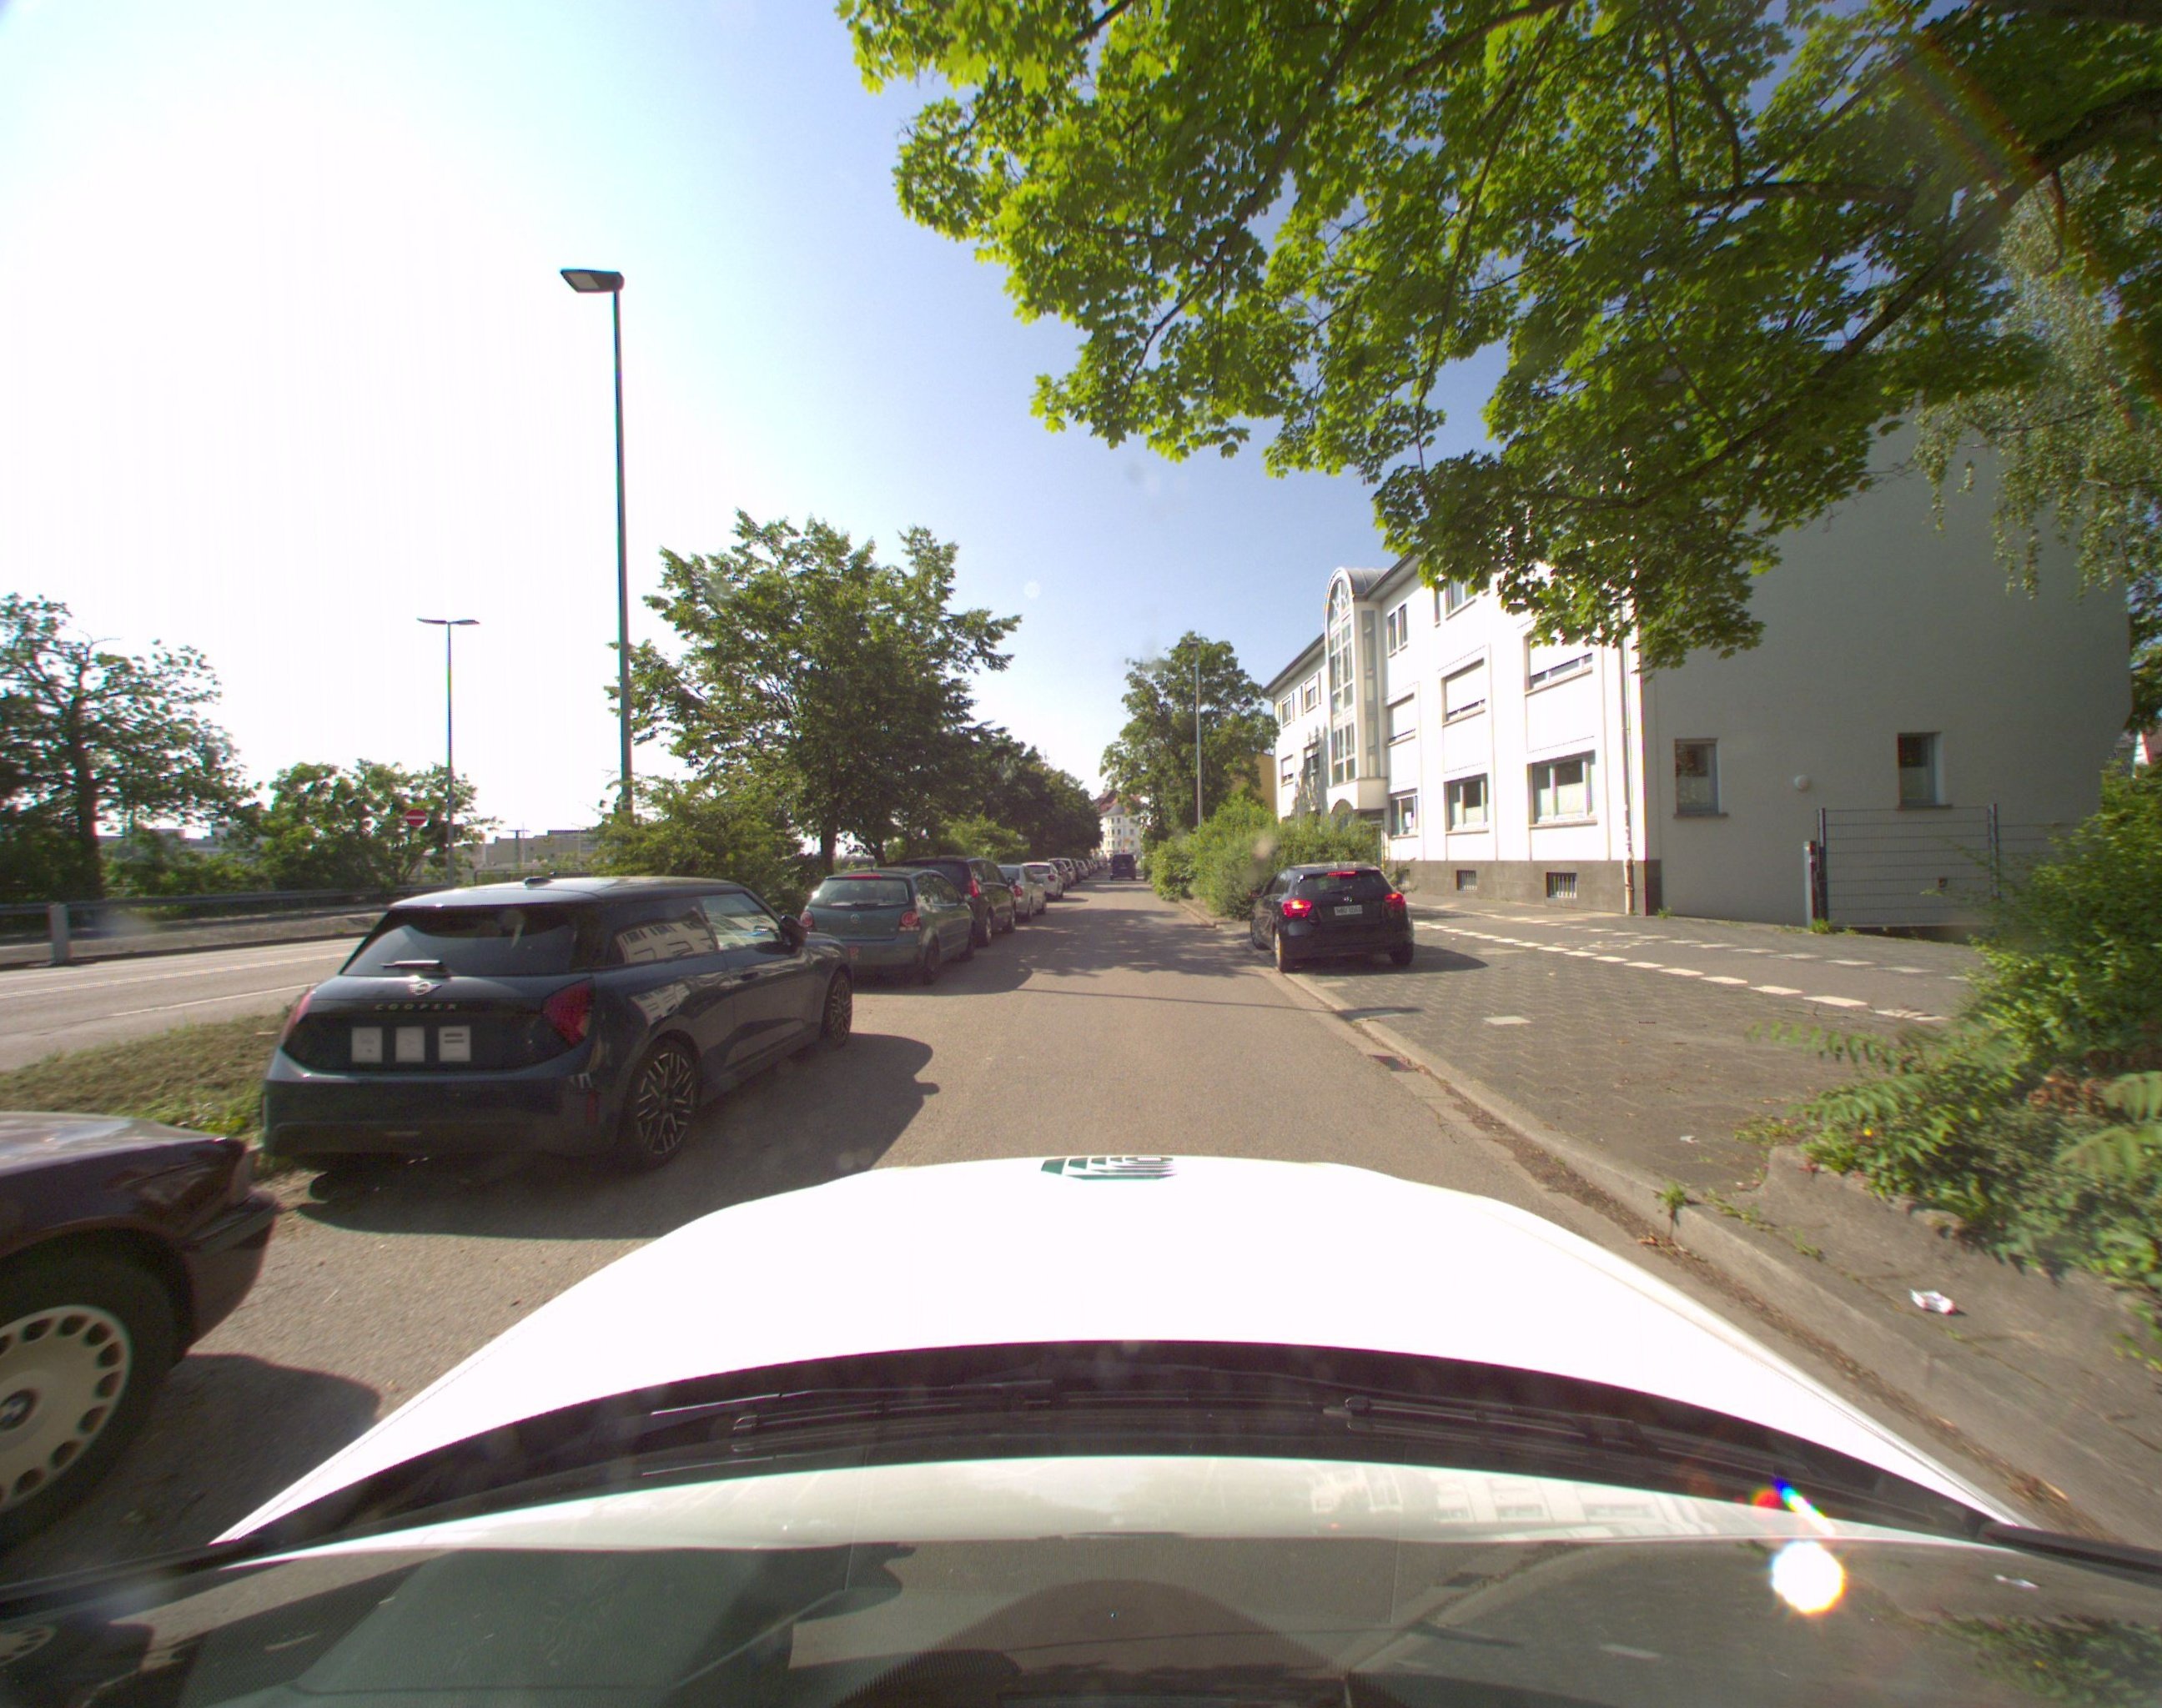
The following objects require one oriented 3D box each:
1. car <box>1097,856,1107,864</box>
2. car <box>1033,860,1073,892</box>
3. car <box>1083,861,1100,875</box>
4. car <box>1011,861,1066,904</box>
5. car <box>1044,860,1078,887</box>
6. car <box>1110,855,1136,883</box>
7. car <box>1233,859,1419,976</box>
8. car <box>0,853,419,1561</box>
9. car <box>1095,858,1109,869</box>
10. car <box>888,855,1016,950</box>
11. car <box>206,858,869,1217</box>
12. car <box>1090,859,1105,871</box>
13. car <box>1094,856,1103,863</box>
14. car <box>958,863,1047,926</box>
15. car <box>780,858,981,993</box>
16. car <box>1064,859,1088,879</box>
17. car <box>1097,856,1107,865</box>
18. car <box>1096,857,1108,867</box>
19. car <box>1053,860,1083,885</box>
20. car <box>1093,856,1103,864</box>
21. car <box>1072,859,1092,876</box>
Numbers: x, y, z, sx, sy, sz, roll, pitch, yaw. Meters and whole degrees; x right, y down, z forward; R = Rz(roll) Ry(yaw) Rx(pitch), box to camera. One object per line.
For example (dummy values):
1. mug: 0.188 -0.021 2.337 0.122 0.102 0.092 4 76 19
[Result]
1. car: 4.479 1.325 175.236 1.986 1.657 4.001 -1 -1 2
2. car: -1.397 1.077 42.128 1.657 1.509 4.204 1 0 3
3. car: 1.196 1.519 91.853 1.657 1.510 4.011 -1 -1 3
4. car: -1.569 1.051 31.409 1.657 1.468 4.204 1 0 3
5. car: -1.151 1.111 47.961 1.657 1.509 4.011 1 0 3
6. car: 3.078 1.048 59.744 1.875 1.921 4.011 1 0 3
7. car: 3.480 0.825 12.348 1.720 1.420 4.002 -2 -1 2
8. car: -3.225 0.762 0.515 1.657 1.512 4.597 1 0 3
9. car: 3.292 1.551 127.305 1.986 1.657 4.001 -1 -1 2
10. car: -2.351 0.818 15.821 1.657 1.583 3.934 1 0 3
11. car: -2.822 0.785 5.367 1.657 1.473 3.792 1 0 3
12. car: 2.392 1.638 117.520 1.986 1.657 4.001 -1 -1 2
13. car: 4.127 1.295 191.210 1.986 1.657 3.742 -1 -1 2
14. car: -1.929 0.963 21.139 1.657 1.407 4.323 1 0 3
15. car: -2.554 0.839 11.303 1.657 1.512 3.792 1 0 3
16. car: -0.374 1.156 64.316 1.657 1.509 4.011 1 0 3
17. car: 4.350 1.349 170.175 1.986 1.657 4.001 -1 -1 2
18. car: 3.771 1.460 146.480 1.986 1.657 4.001 -1 -1 2
19. car: -0.828 1.162 53.229 1.657 1.509 4.011 1 0 3
20. car: 3.818 1.343 182.227 1.986 1.657 4.001 -1 -1 2
21. car: 0.115 1.205 75.354 1.657 1.509 4.011 1 0 3
